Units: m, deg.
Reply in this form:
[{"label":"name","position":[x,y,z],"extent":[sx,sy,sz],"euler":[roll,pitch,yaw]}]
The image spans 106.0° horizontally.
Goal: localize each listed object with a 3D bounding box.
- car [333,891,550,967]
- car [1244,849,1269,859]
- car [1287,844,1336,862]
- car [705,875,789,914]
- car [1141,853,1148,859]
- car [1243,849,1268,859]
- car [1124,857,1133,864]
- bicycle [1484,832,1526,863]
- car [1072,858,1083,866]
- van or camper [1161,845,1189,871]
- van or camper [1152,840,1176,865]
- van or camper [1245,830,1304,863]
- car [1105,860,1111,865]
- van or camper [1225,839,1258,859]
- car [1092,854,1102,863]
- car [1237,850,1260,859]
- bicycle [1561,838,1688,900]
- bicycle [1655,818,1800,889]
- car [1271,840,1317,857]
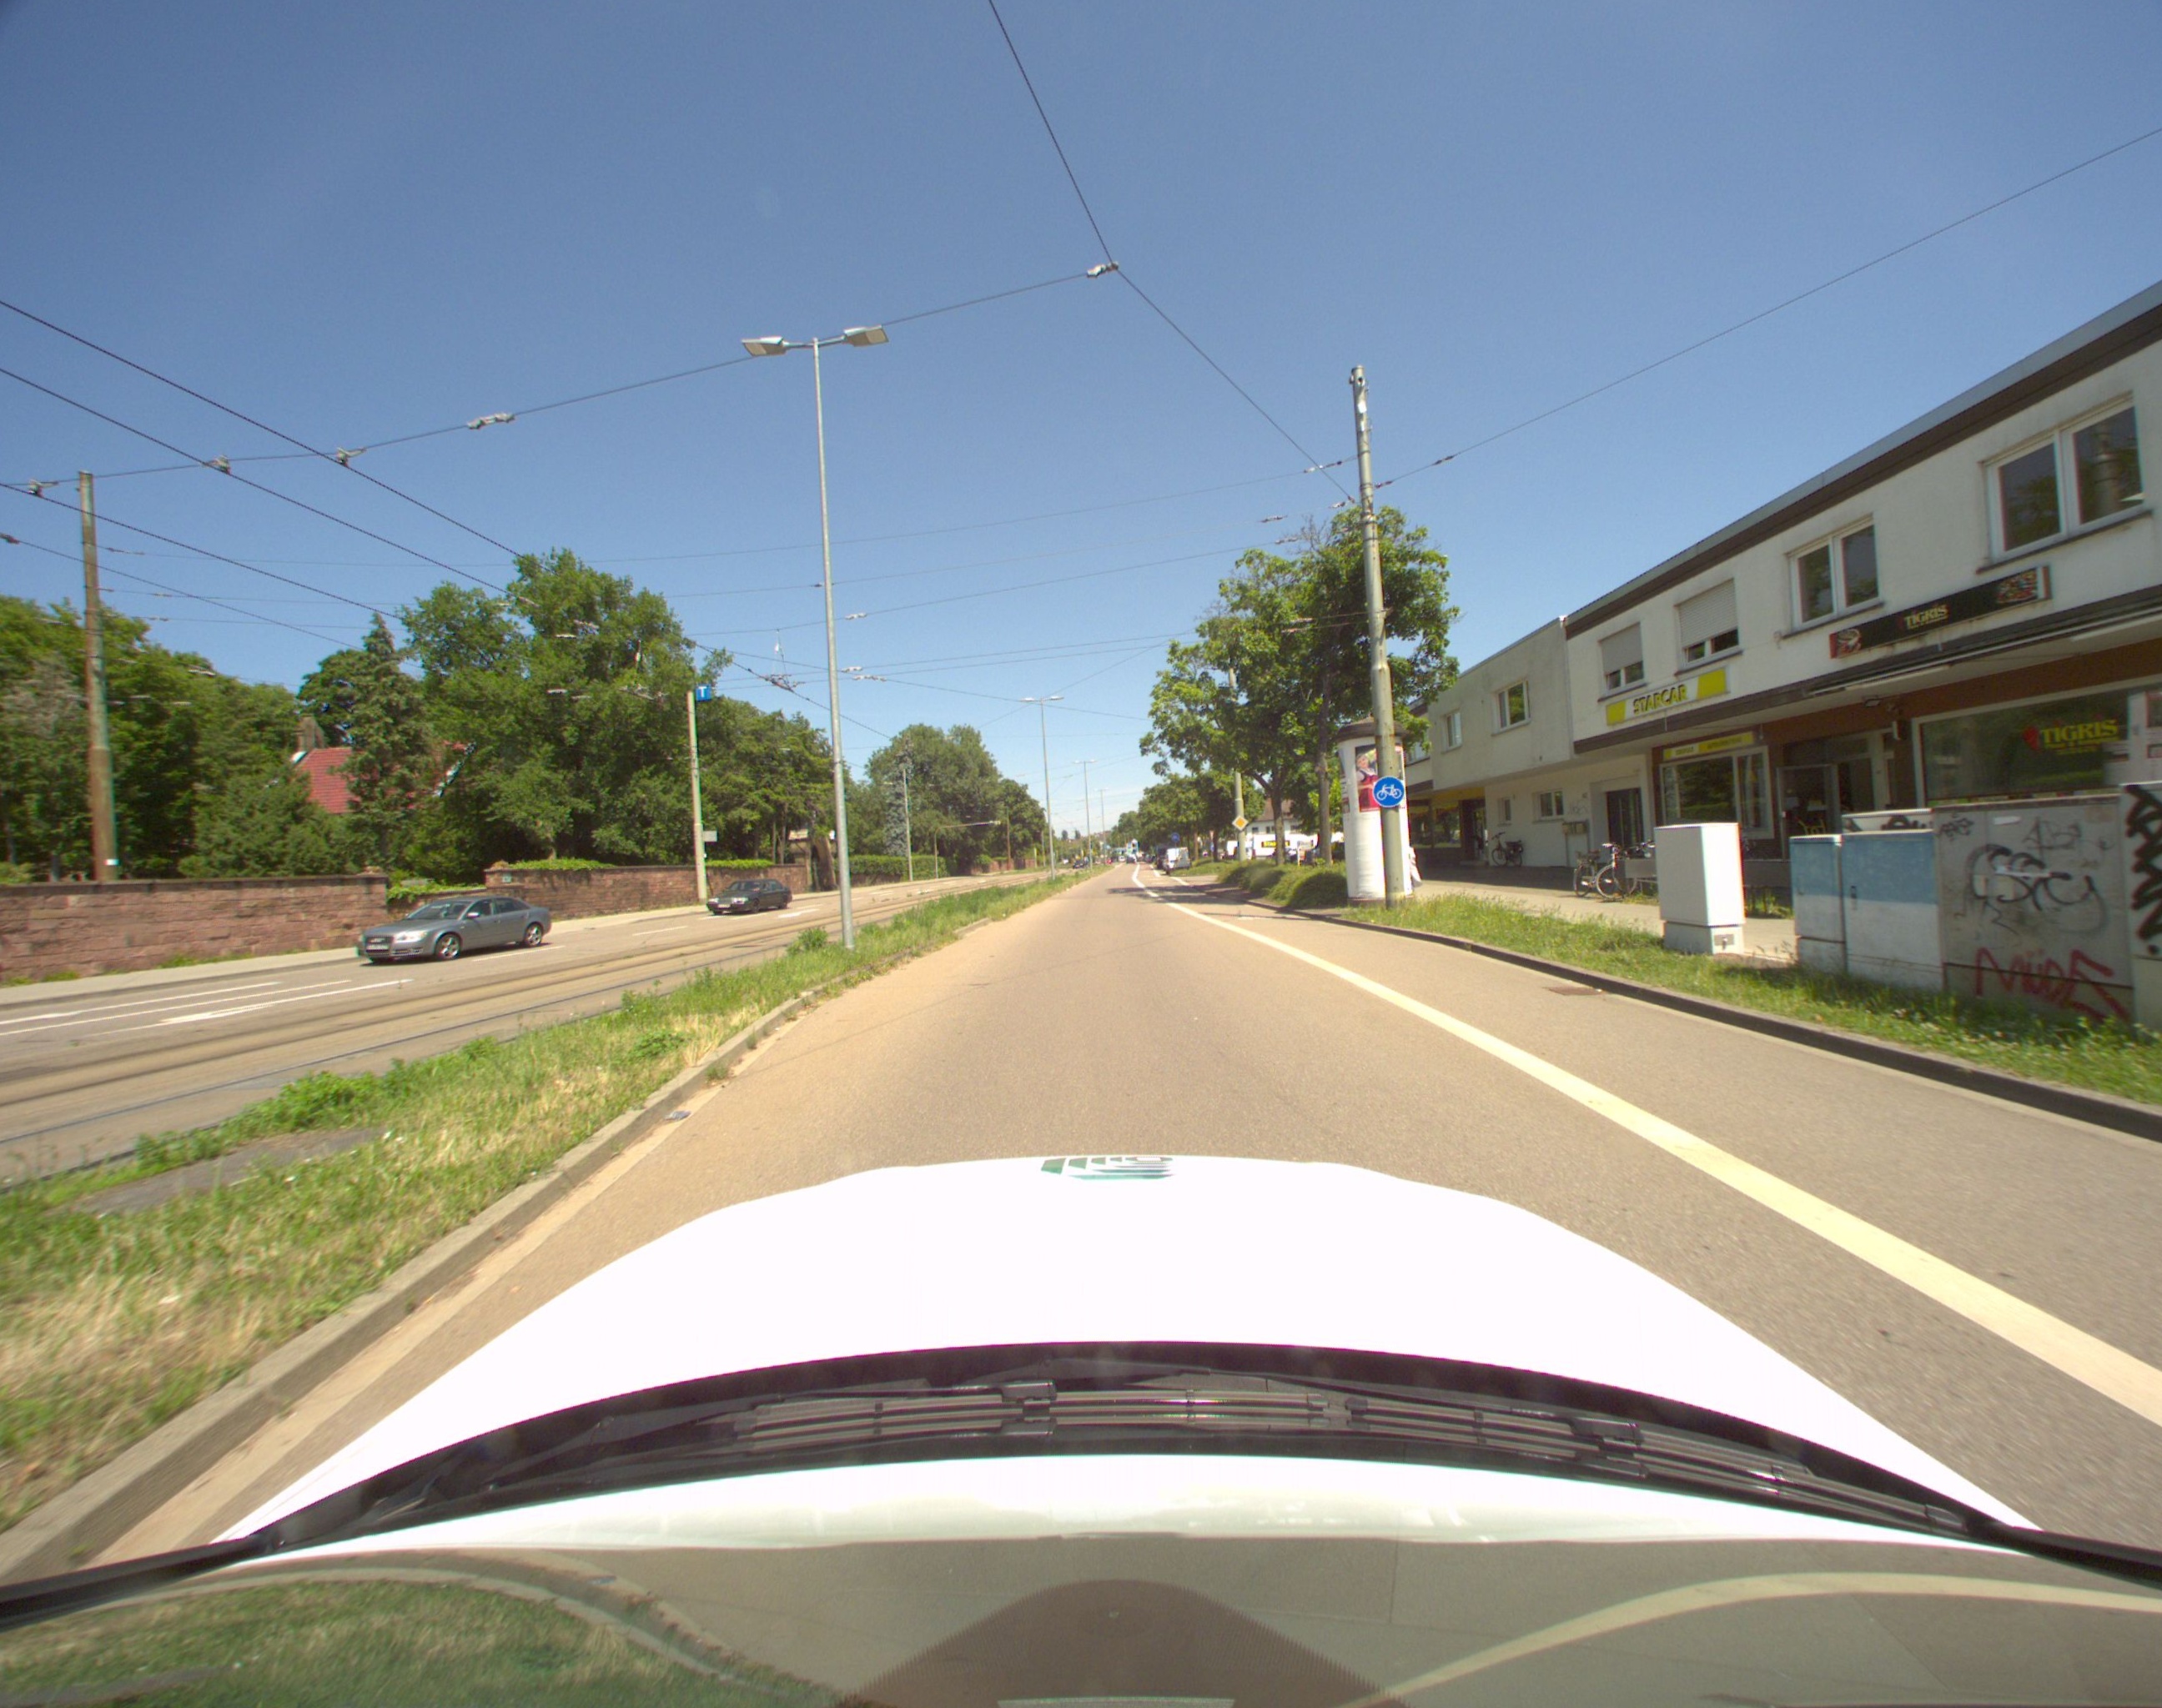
[{"label":"car","position":[-15.335,1.745,19.862],"extent":[1.633,1.421,4.175],"euler":[-2,0,7]},{"label":"car","position":[18.763,0.023,87.179],"extent":[2.572,0.962,1.152],"euler":[-3,0,9]},{"label":"car","position":[18.278,-0.082,64.708],"extent":[3.522,1.222,1.480],"euler":[-3,0,9]},{"label":"car","position":[-14.038,1.675,34.515],"extent":[1.634,1.399,4.120],"euler":[-2,0,3]},{"label":"car","position":[15.410,0.458,197.061],"extent":[1.518,1.296,3.494],"euler":[-3,0,2]},{"label":"car","position":[19.275,-0.042,89.892],"extent":[2.575,0.962,1.150],"euler":[-3,0,5]},{"label":"car","position":[9.564,1.292,164.868],"extent":[1.631,1.351,3.843],"euler":[-3,0,2]},{"label":"bicycle","position":[15.096,-0.223,29.060],"extent":[0.505,1.065,1.864],"euler":[-2,-1,1]},{"label":"car","position":[-0.508,1.196,123.395],"extent":[1.485,1.046,3.583],"euler":[-3,0,4]},{"label":"van or camper","position":[7.093,0.271,61.773],"extent":[1.913,1.772,4.005],"euler":[-3,0,5]},{"label":"van or camper","position":[8.565,-0.162,84.270],"extent":[1.986,2.464,4.001],"euler":[-3,0,2]},{"label":"van or camper","position":[17.578,-0.674,74.203],"extent":[4.738,2.671,2.137],"euler":[-4,0,2]},{"label":"car","position":[6.538,1.976,196.823],"extent":[1.381,1.027,3.146],"euler":[-3,0,2]},{"label":"van or camper","position":[19.394,-0.608,98.536],"extent":[3.543,2.145,1.603],"euler":[-3,0,2]},{"label":"car","position":[2.154,0.593,109.683],"extent":[1.288,1.054,2.599],"euler":[-3,0,-1]},{"label":"car","position":[19.551,0.035,95.132],"extent":[2.575,0.962,1.150],"euler":[-3,0,5]},{"label":"bicycle","position":[10.126,0.247,15.338],"extent":[1.027,1.014,2.645],"euler":[-3,0,11]},{"label":"bicycle","position":[12.026,-0.014,15.310],"extent":[0.982,1.164,2.645],"euler":[-3,0,11]},{"label":"car","position":[17.798,-0.440,68.057],"extent":[3.522,1.222,1.480],"euler":[-4,-1,9]}]
